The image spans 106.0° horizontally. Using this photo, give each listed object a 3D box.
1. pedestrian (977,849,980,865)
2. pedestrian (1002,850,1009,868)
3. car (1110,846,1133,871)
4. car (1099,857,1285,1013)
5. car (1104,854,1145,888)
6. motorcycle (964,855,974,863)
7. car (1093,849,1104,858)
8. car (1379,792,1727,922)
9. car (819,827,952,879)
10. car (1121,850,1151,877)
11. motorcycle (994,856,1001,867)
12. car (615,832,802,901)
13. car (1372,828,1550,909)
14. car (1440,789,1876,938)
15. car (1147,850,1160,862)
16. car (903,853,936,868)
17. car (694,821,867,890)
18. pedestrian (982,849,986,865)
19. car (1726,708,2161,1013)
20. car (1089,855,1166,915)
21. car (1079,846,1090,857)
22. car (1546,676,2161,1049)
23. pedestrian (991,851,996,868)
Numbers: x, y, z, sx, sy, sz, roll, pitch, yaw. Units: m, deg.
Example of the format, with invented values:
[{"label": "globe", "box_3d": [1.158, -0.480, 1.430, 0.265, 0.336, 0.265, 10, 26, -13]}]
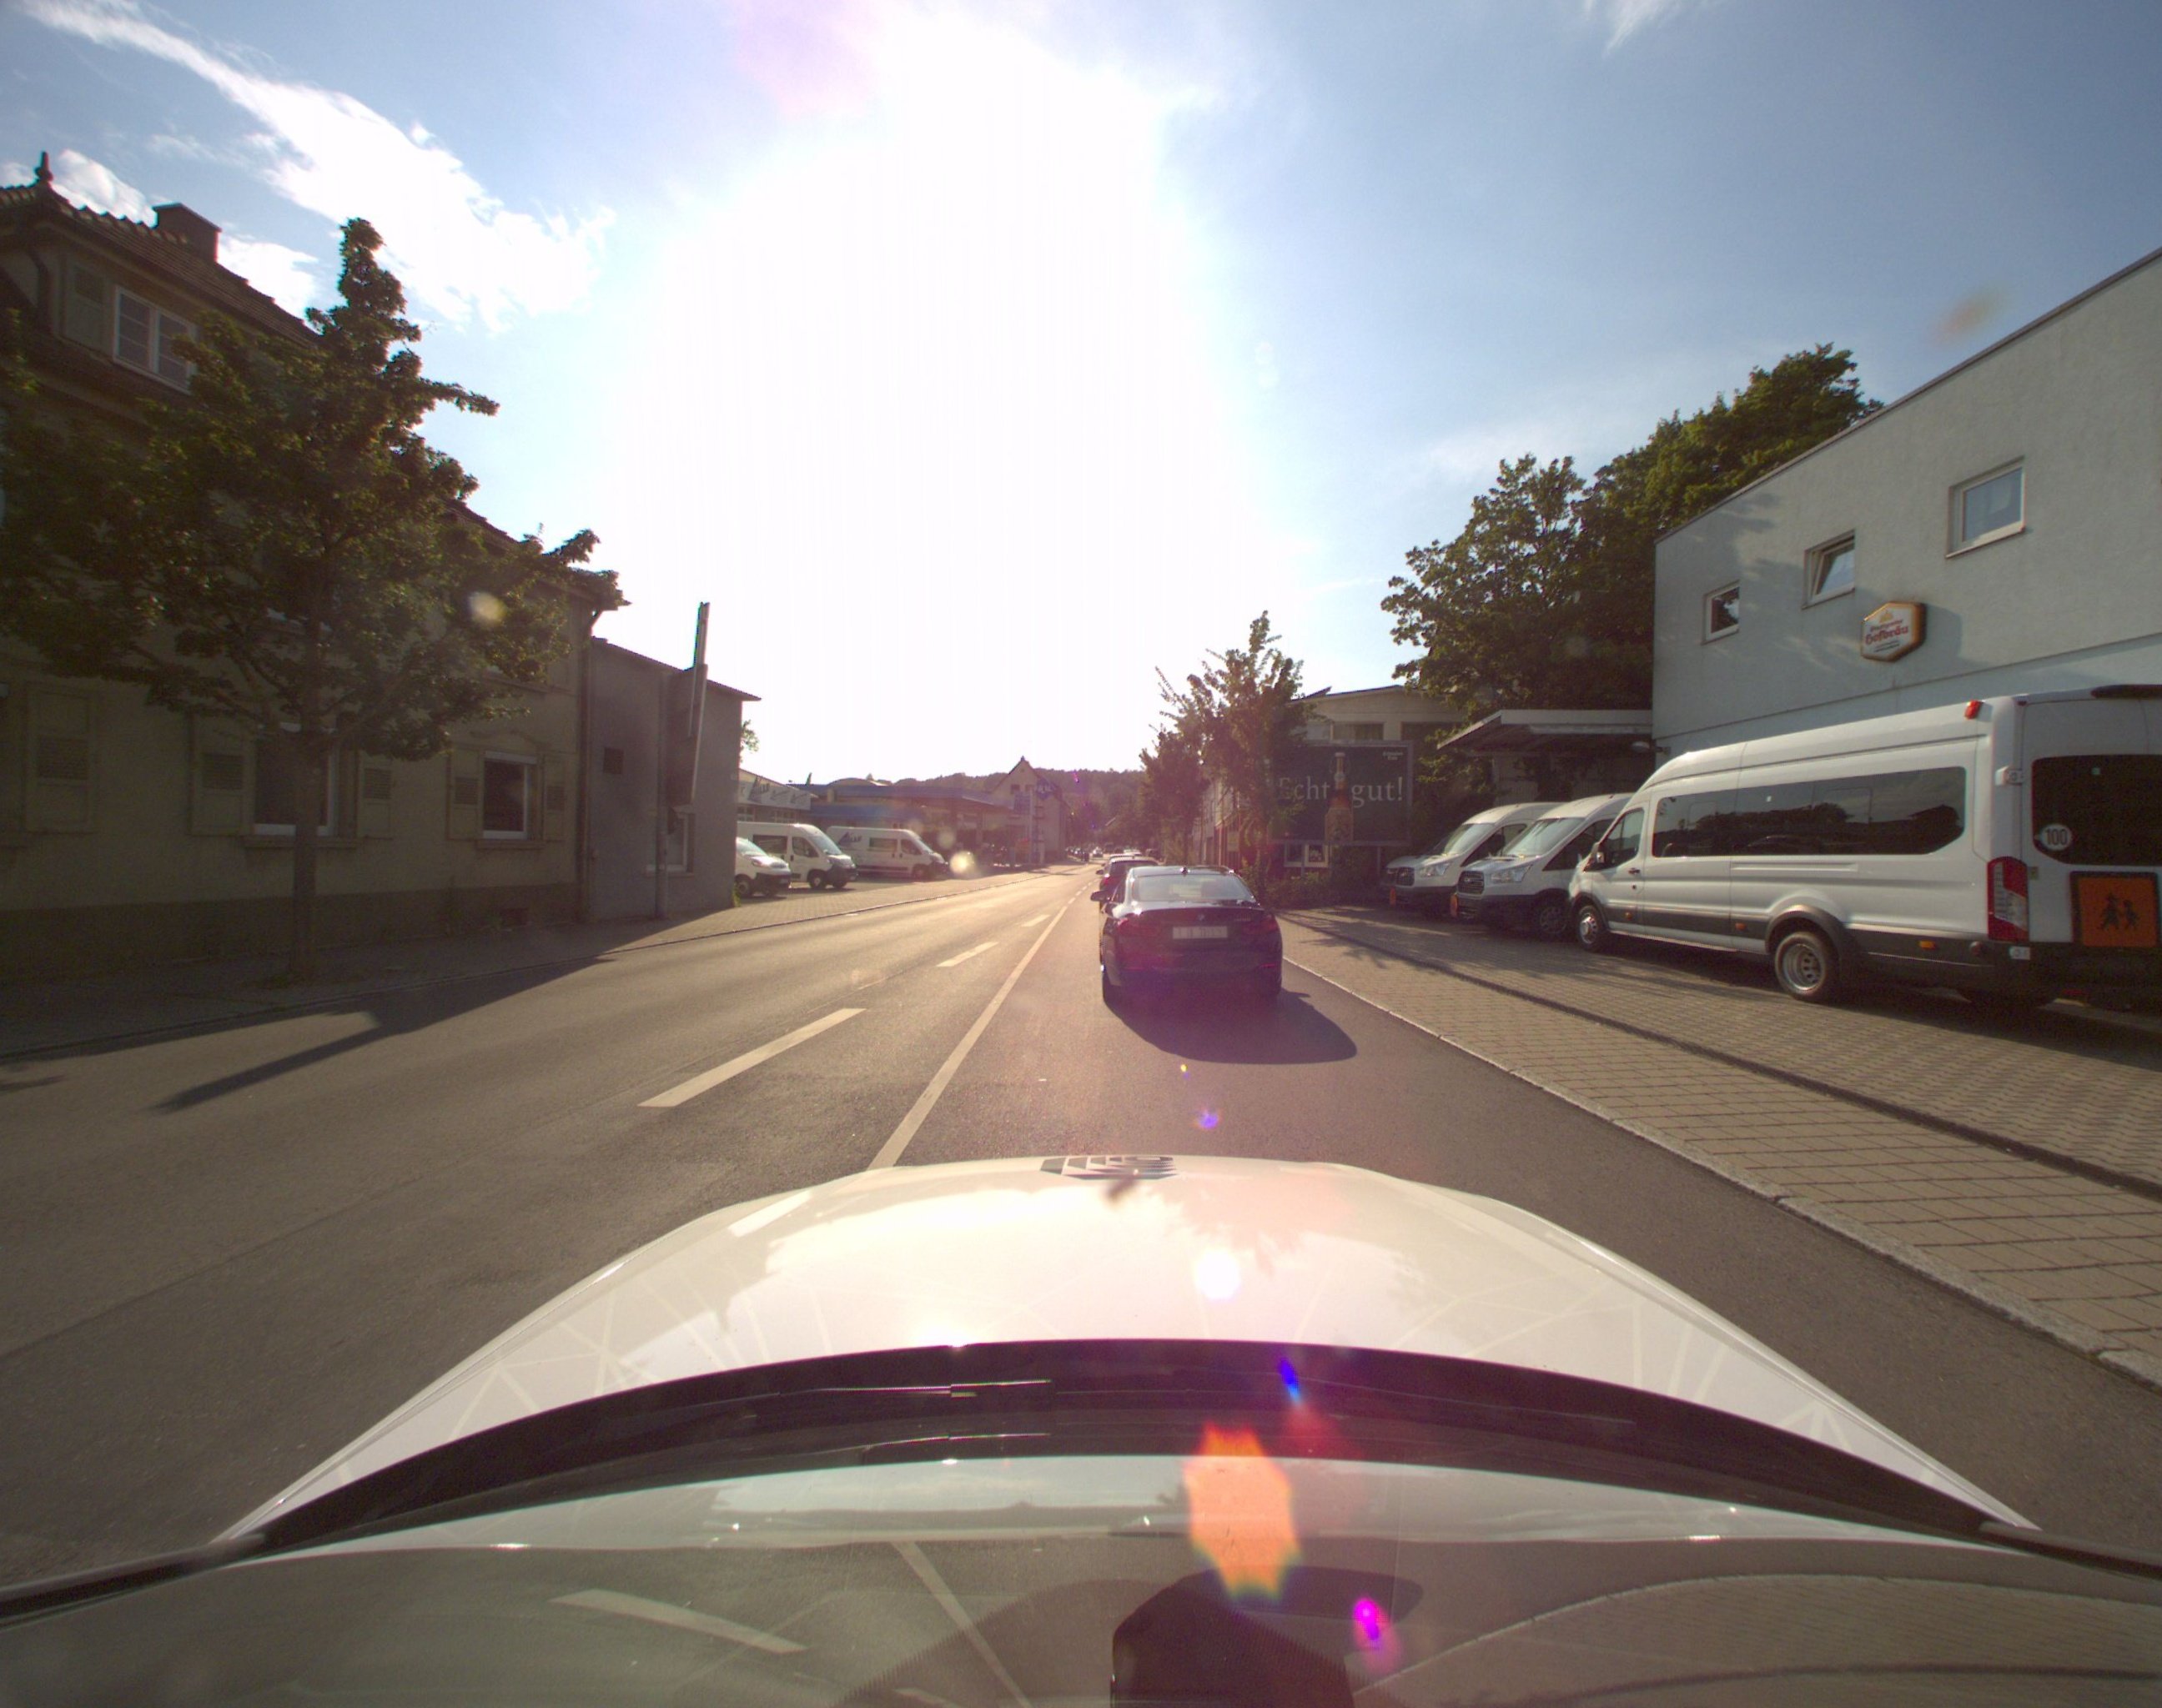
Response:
[{"label": "pedestrian", "box_3d": [-8.954, 0.285, 71.080, 0.286, 1.366, 0.263, 0, 0, -1]}, {"label": "pedestrian", "box_3d": [-6.670, 0.438, 72.114, 0.608, 1.670, 0.442, 0, 0, 0]}, {"label": "car", "box_3d": [3.055, 0.306, 61.070, 1.595, 1.767, 3.416, 0, 0, 5]}, {"label": "car", "box_3d": [1.072, 0.756, 9.665, 1.694, 1.369, 4.263, -1, 0, 1]}, {"label": "car", "box_3d": [1.980, 0.720, 36.206, 1.746, 1.414, 3.426, 0, 0, 4]}, {"label": "motorcycle", "box_3d": [-9.963, 0.438, 72.358, 0.456, 0.730, 1.478, 0, 0, 10]}, {"label": "car", "box_3d": [2.925, -0.089, 135.465, 1.590, 1.485, 3.477, 1, 0, 2]}, {"label": "car", "box_3d": [9.546, 0.044, 16.855, 6.022, 2.516, 2.044, 0, 0, 0]}, {"label": "car", "box_3d": [-9.843, -0.077, 41.303, 6.132, 2.444, 2.251, 1, 0, 3]}, {"label": "car", "box_3d": [3.411, 0.542, 49.633, 1.583, 1.600, 3.901, 0, 0, 7]}, {"label": "motorcycle", "box_3d": [-7.330, 0.640, 71.800, 0.362, 0.943, 1.696, 0, 0, 2]}, {"label": "car", "box_3d": [-11.620, 0.367, 25.577, 4.951, 1.999, 1.938, 1, 0, 5]}, {"label": "car", "box_3d": [9.095, 0.330, 19.685, 3.588, 1.894, 1.586, 0, 0, 0]}, {"label": "car", "box_3d": [9.577, 0.141, 13.908, 6.022, 2.363, 2.044, 0, 0, 0]}, {"label": "car", "box_3d": [9.430, 0.285, 105.956, 1.590, 1.485, 3.477, 1, 0, 2]}, {"label": "car", "box_3d": [-15.972, 0.611, 80.579, 3.155, 1.427, 1.433, 0, 0, -14]}, {"label": "car", "box_3d": [-11.580, 0.035, 31.574, 5.887, 2.480, 2.198, 1, 1, 7]}, {"label": "pedestrian", "box_3d": [-8.543, 0.276, 71.614, 0.261, 1.383, 0.288, 0, 0, -1]}, {"label": "car", "box_3d": [10.755, 0.039, 9.143, 2.103, 2.722, 6.446, 0, 0, 2]}, {"label": "car", "box_3d": [1.301, 0.748, 21.546, 1.762, 1.456, 3.523, 0, 0, 7]}, {"label": "car", "box_3d": [0.528, -0.394, 118.874, 1.590, 1.485, 3.477, 1, 0, 2]}, {"label": "car", "box_3d": [8.079, 0.031, 9.148, 2.141, 2.680, 6.606, 0, 0, 2]}, {"label": "pedestrian", "box_3d": [-7.746, 0.472, 72.266, 0.406, 1.547, 0.433, 0, 0, 0]}]
